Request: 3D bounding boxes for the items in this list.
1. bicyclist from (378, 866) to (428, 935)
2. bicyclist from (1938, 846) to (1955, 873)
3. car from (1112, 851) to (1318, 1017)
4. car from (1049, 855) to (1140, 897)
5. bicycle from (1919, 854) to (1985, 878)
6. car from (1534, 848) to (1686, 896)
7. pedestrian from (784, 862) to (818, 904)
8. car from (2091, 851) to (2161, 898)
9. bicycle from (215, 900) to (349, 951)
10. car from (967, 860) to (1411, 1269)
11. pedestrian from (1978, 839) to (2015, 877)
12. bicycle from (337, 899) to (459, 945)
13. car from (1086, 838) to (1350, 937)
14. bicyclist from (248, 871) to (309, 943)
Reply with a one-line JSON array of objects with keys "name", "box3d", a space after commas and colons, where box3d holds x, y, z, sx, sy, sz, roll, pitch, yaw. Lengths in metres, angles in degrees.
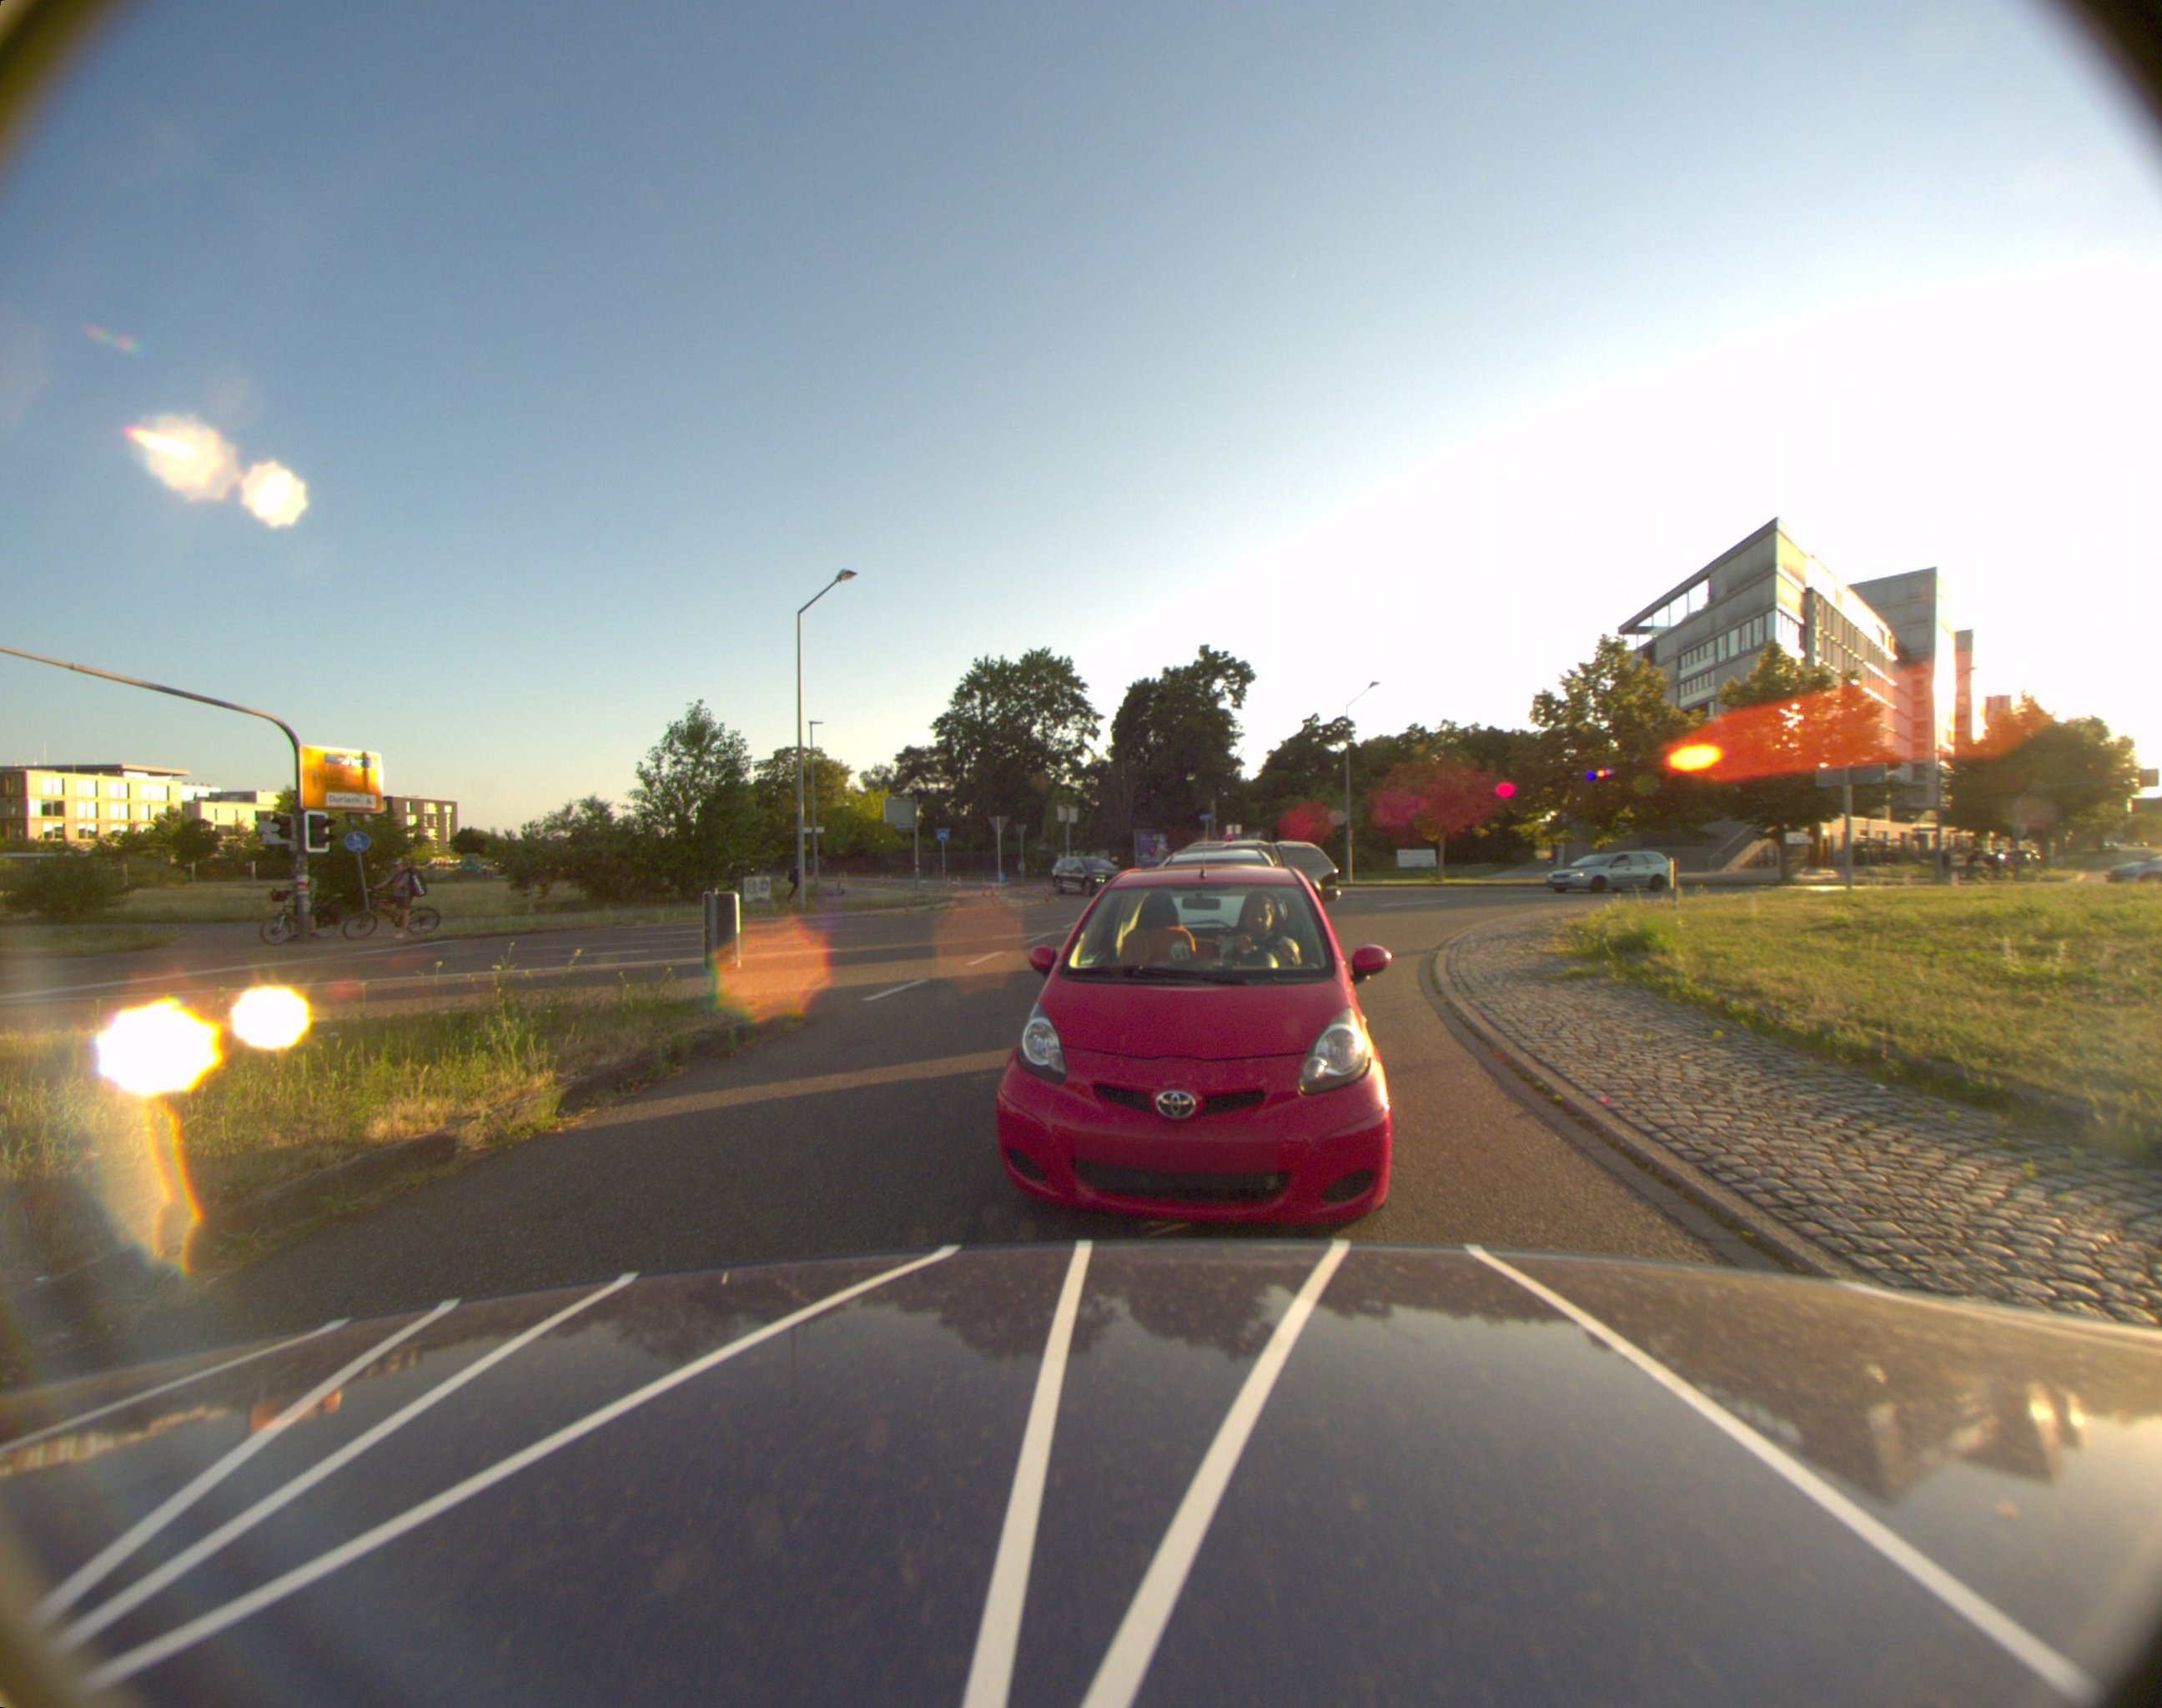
[{"name": "bicyclist", "box3d": [-17.138, 1.162, 19.214, 0.723, 1.680, 0.690, -1, 1, 28]}, {"name": "bicyclist", "box3d": [46.980, 0.310, 41.262, 0.693, 1.432, 0.610, -2, 1, -42]}, {"name": "car", "box3d": [1.741, 0.780, 9.599, 1.997, 1.597, 4.202, -1, 0, 12]}, {"name": "car", "box3d": [0.489, 0.878, 32.348, 2.003, 1.588, 4.304, -1, 0, -28]}, {"name": "bicycle", "box3d": [47.093, 0.630, 41.121, 0.744, 1.237, 2.341, -2, 1, -41]}, {"name": "car", "box3d": [18.957, 0.603, 27.280, 4.569, 1.550, 1.831, -1, 0, -12]}, {"name": "pedestrian", "box3d": [-10.966, 1.108, 29.713, 0.994, 1.581, 0.924, -2, 1, -36]}, {"name": "car", "box3d": [38.377, 0.686, 26.176, 3.881, 1.571, 1.958, -1, 0, 35]}, {"name": "bicycle", "box3d": [-19.265, 1.694, 18.393, 0.708, 0.958, 2.109, -1, 2, 14]}, {"name": "car", "box3d": [0.876, 0.783, 4.867, 1.686, 1.412, 4.004, -1, 0, 15]}, {"name": "pedestrian", "box3d": [49.373, 0.198, 40.991, 0.776, 2.002, 0.998, -2, 1, -11]}, {"name": "bicycle", "box3d": [-17.154, 1.676, 19.154, 0.708, 0.957, 2.149, -1, 0, 26]}, {"name": "car", "box3d": [2.919, 0.641, 15.873, 5.314, 1.801, 1.996, 0, -2, -28]}, {"name": "bicyclist", "box3d": [-19.323, 1.254, 18.306, 0.724, 1.680, 0.690, -1, 1, 12]}]
